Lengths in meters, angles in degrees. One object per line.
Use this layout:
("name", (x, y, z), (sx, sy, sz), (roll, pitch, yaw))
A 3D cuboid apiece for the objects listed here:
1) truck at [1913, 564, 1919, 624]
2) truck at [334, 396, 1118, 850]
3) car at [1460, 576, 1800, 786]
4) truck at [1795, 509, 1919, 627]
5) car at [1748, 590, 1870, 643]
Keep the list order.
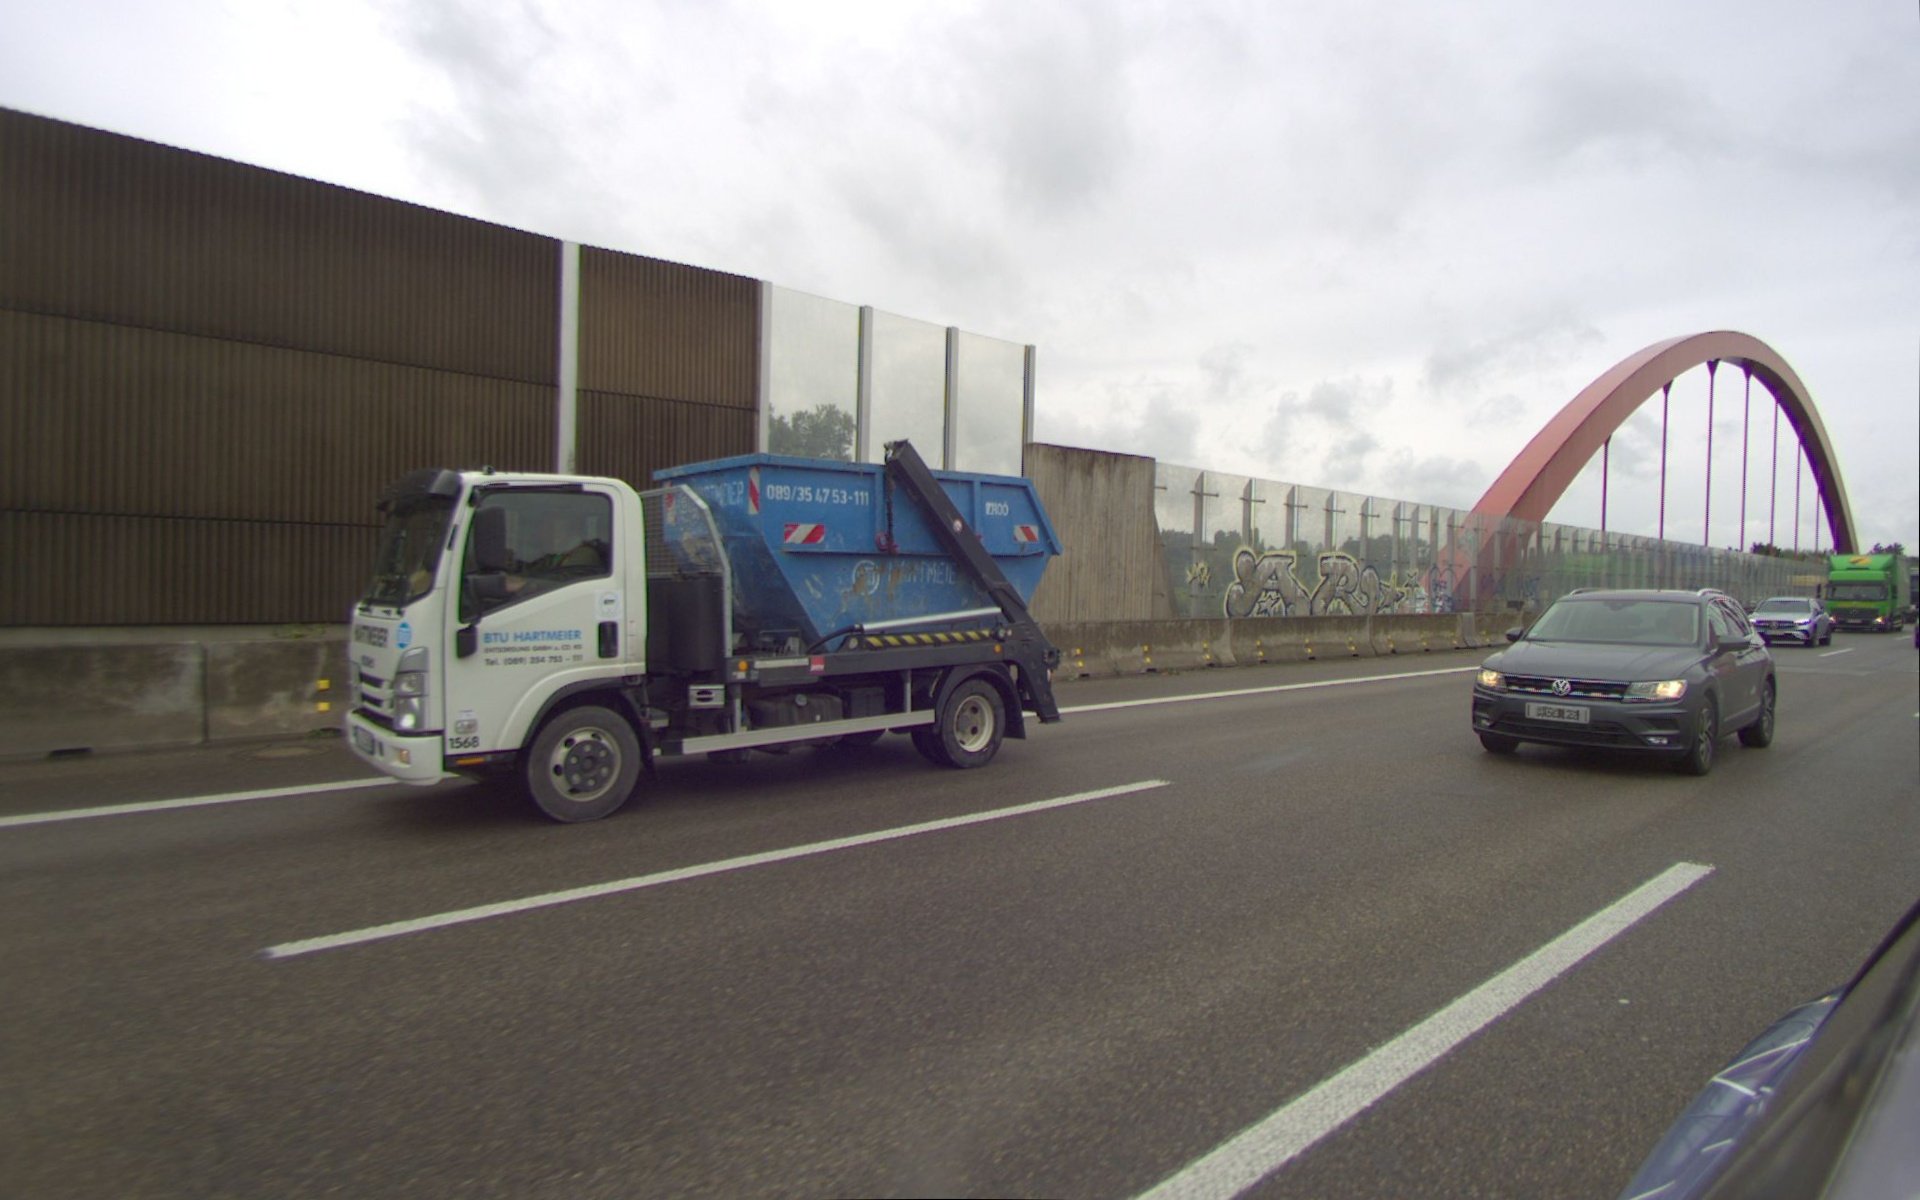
("truck", (69.953, -0.405, 71.885), (12.506, 3.999, 2.815), (0, 2, -45))
("truck", (-1.566, 0.116, 8.511), (6.034, 2.538, 2.366), (0, 0, -40))
("car", (6.872, 0.641, 10.220), (4.033, 1.691, 1.914), (0, 0, -42))
("truck", (45.658, -1.475, 50.874), (11.025, 5.333, 4.004), (0, 0, -41))
("car", (28.846, 0.513, 34.328), (5.228, 1.640, 1.999), (0, 0, -36))
